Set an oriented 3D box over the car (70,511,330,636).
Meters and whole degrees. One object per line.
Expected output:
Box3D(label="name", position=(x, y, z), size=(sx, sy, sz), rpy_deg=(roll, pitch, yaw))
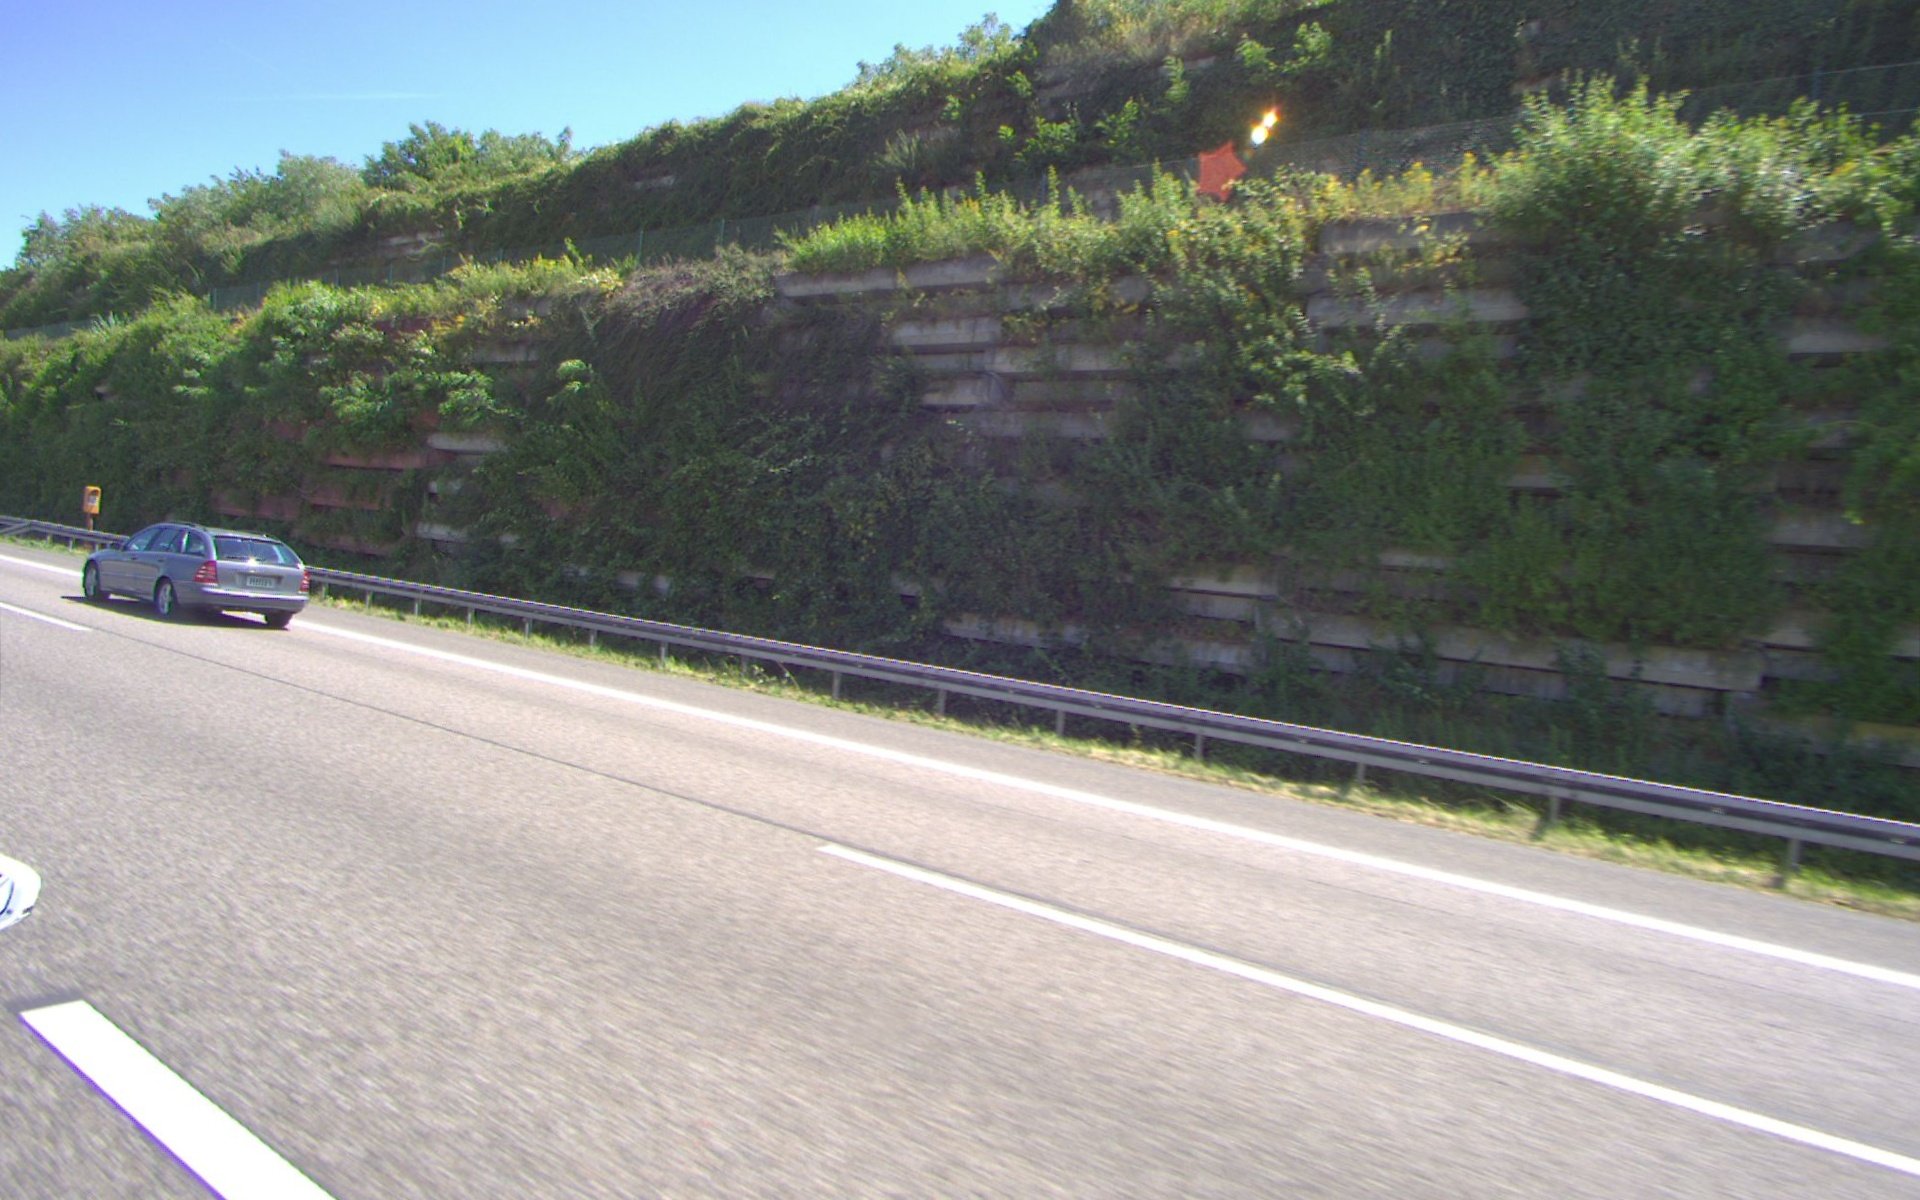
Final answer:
Box3D(label="car", position=(-12.205, -0.447, 16.087), size=(4.378, 1.445, 1.687), rpy_deg=(7, -1, 31))
